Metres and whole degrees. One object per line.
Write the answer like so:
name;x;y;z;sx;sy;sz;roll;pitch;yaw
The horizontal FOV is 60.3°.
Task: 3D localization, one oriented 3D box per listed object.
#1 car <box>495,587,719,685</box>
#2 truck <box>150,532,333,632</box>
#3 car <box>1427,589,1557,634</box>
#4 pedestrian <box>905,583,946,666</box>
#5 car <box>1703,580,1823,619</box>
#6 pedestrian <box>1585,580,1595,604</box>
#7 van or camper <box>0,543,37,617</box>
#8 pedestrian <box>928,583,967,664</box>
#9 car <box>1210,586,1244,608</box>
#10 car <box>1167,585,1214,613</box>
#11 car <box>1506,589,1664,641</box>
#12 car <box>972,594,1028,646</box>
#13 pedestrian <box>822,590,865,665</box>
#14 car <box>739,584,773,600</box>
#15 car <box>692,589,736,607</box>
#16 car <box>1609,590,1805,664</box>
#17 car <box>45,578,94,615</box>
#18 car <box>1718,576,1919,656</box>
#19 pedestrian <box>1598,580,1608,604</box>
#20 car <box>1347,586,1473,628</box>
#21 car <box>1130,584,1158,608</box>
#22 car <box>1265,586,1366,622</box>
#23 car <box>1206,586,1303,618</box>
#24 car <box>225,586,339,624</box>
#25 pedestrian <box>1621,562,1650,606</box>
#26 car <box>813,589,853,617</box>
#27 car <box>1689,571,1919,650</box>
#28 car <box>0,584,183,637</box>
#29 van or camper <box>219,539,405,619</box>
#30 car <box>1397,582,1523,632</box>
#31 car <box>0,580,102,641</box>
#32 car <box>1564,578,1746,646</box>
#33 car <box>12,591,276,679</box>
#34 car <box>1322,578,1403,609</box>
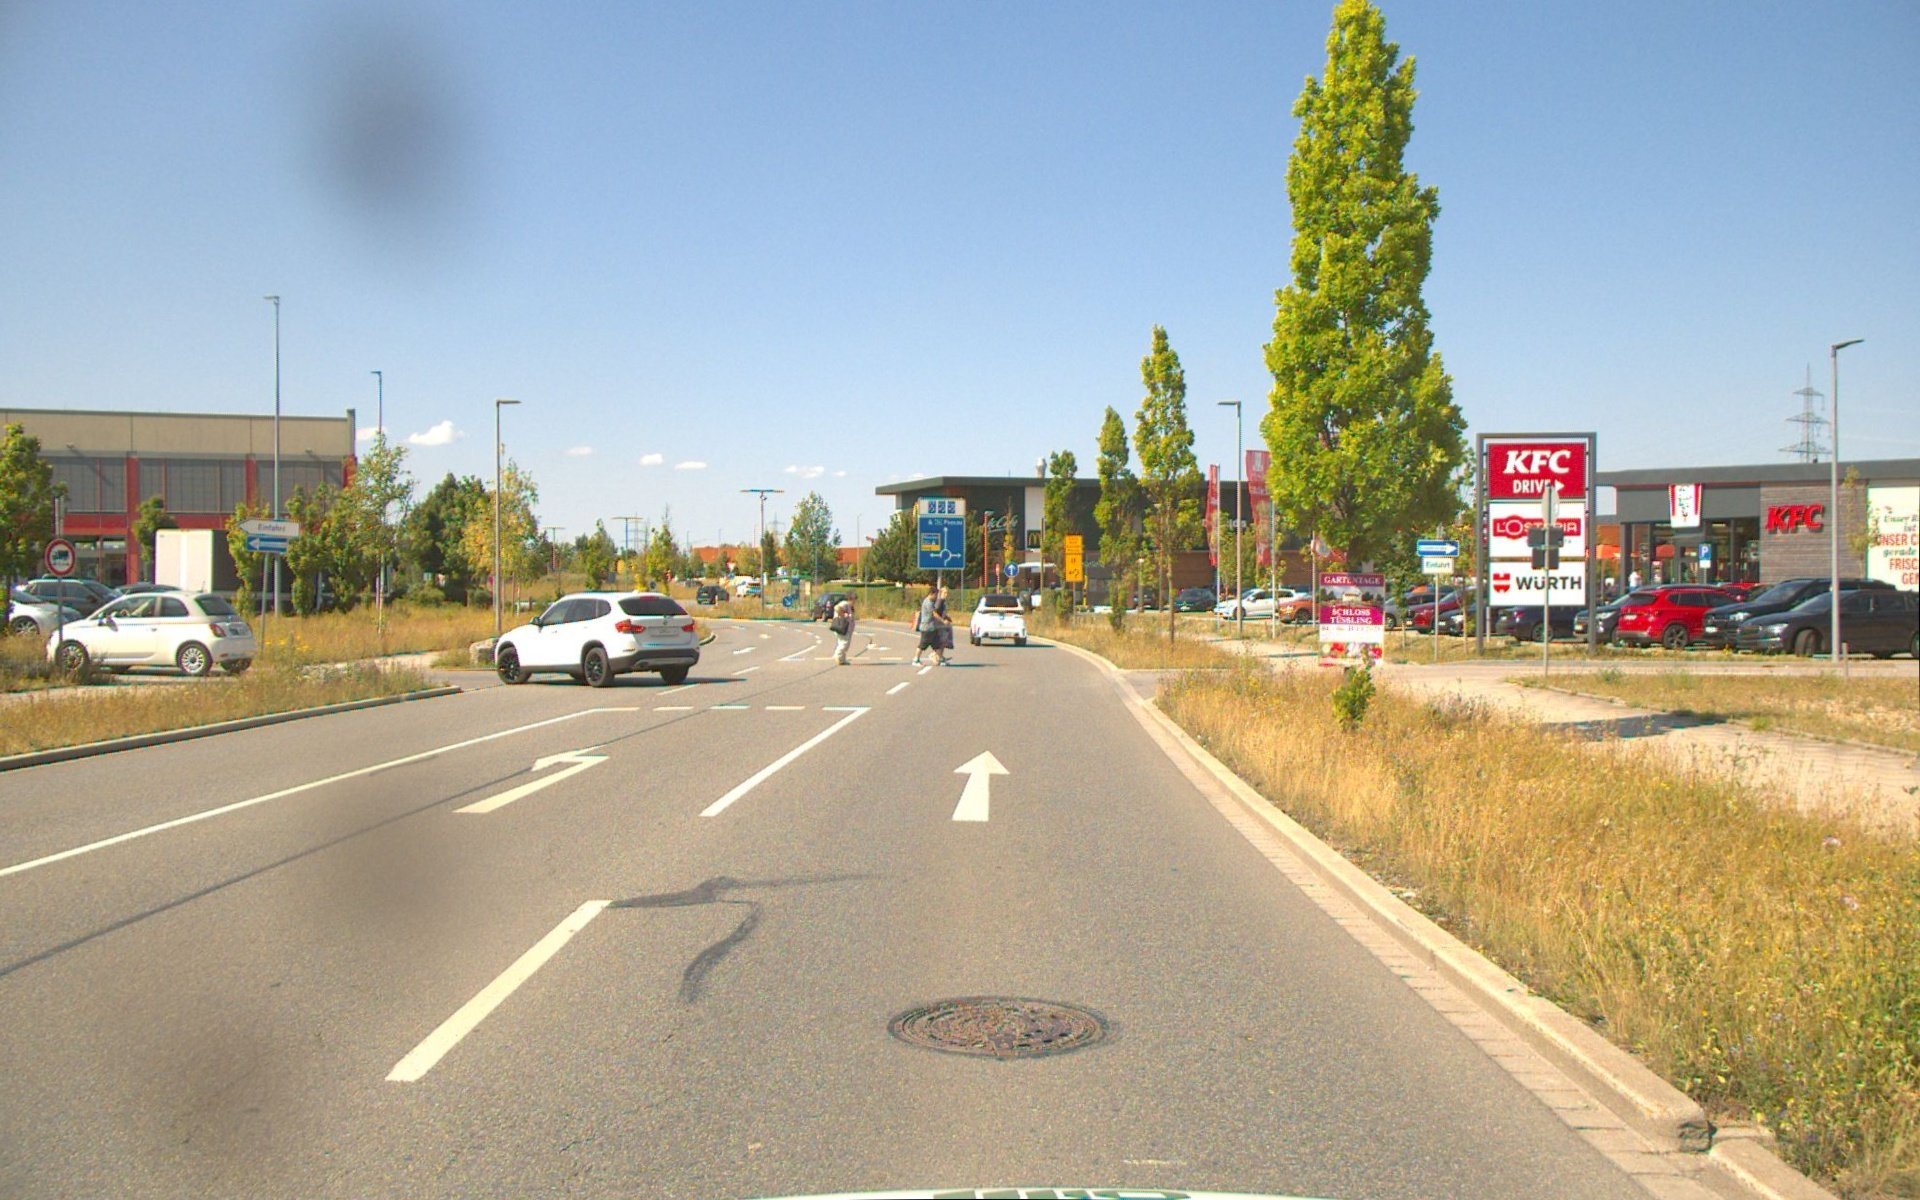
car;-6.197;0.576;28.769;1.903;1.574;4.156;0;0;-45
truck;-26.821;-0.651;62.151;2.267;3.525;7.500;0;0;13
car;18.866;0.392;58.689;4.081;1.474;1.786;-1;1;-13
pedestrian;-0.702;0.494;33.695;0.792;1.657;0.866;0;0;0
car;32.692;-0.024;67.353;4.491;1.456;1.857;-2;1;-22
pedestrian;32.889;-0.434;86.366;0.374;1.262;0.290;-1;0;-22
van or camper;-45.132;-0.900;77.320;2.394;3.328;7.192;0;0;-20
pedestrian;-0.249;0.486;34.281;0.784;1.658;0.805;0;0;0
car;19.330;-0.256;119.690;1.755;1.539;4.001;-1;0;19
car;13.011;-0.063;93.152;1.662;1.487;4.169;-1;0;22
car;19.067;0.438;50.624;4.312;1.474;1.793;-1;1;13
car;1.172;0.553;48.925;1.583;1.459;3.793;0;0;1
pedestrian;-2.378;0.554;33.844;0.776;1.496;0.949;0;0;0
car;-19.561;-0.814;159.024;1.951;1.489;4.003;0;1;14
car;-20.966;-0.141;141.108;1.953;1.465;4.000;0;1;22
car;19.477;0.684;43.214;4.317;1.765;1.791;-1;1;-2
car;-42.405;-0.183;78.807;1.638;1.700;4.056;0;0;-22
car;19.154;0.319;36.119;4.320;1.594;1.993;-1;1;-5
pedestrian;33.656;-0.434;86.524;0.374;1.262;0.290;-1;0;-22
car;17.854;0.272;65.719;4.472;1.516;1.864;-1;1;-10
car;13.077;-0.292;117.409;1.754;1.632;4.004;-1;0;10
car;16.234;0.180;75.537;4.133;1.516;1.862;-1;1;-14
car;14.763;0.085;82.891;4.449;1.516;1.862;-1;1;-14
car;-28.929;0.219;70.716;4.297;1.579;1.830;0;0;-17
pedestrian;31.663;-0.731;77.569;0.898;2.049;0.887;0;0;-17
car;-6.783;0.161;88.391;1.589;1.459;3.780;0;0;-13
car;20.553;0.230;40.195;4.885;1.765;1.938;-1;1;-5
car;-25.391;0.285;48.348;4.487;1.484;1.836;0;0;-6
van or camper;-29.317;-0.961;75.158;7.566;3.529;2.545;0;0;-16
car;18.441;0.248;61.072;4.074;1.694;1.866;-1;1;-7
car;-25.107;0.263;43.076;4.517;1.538;1.836;0;0;-6
car;19.329;0.323;46.108;4.318;1.765;1.790;-1;1;-3
car;-15.007;0.623;30.557;3.904;1.574;1.918;0;0;1
car;22.347;-0.347;91.872;4.097;1.664;1.780;-1;0;-22
